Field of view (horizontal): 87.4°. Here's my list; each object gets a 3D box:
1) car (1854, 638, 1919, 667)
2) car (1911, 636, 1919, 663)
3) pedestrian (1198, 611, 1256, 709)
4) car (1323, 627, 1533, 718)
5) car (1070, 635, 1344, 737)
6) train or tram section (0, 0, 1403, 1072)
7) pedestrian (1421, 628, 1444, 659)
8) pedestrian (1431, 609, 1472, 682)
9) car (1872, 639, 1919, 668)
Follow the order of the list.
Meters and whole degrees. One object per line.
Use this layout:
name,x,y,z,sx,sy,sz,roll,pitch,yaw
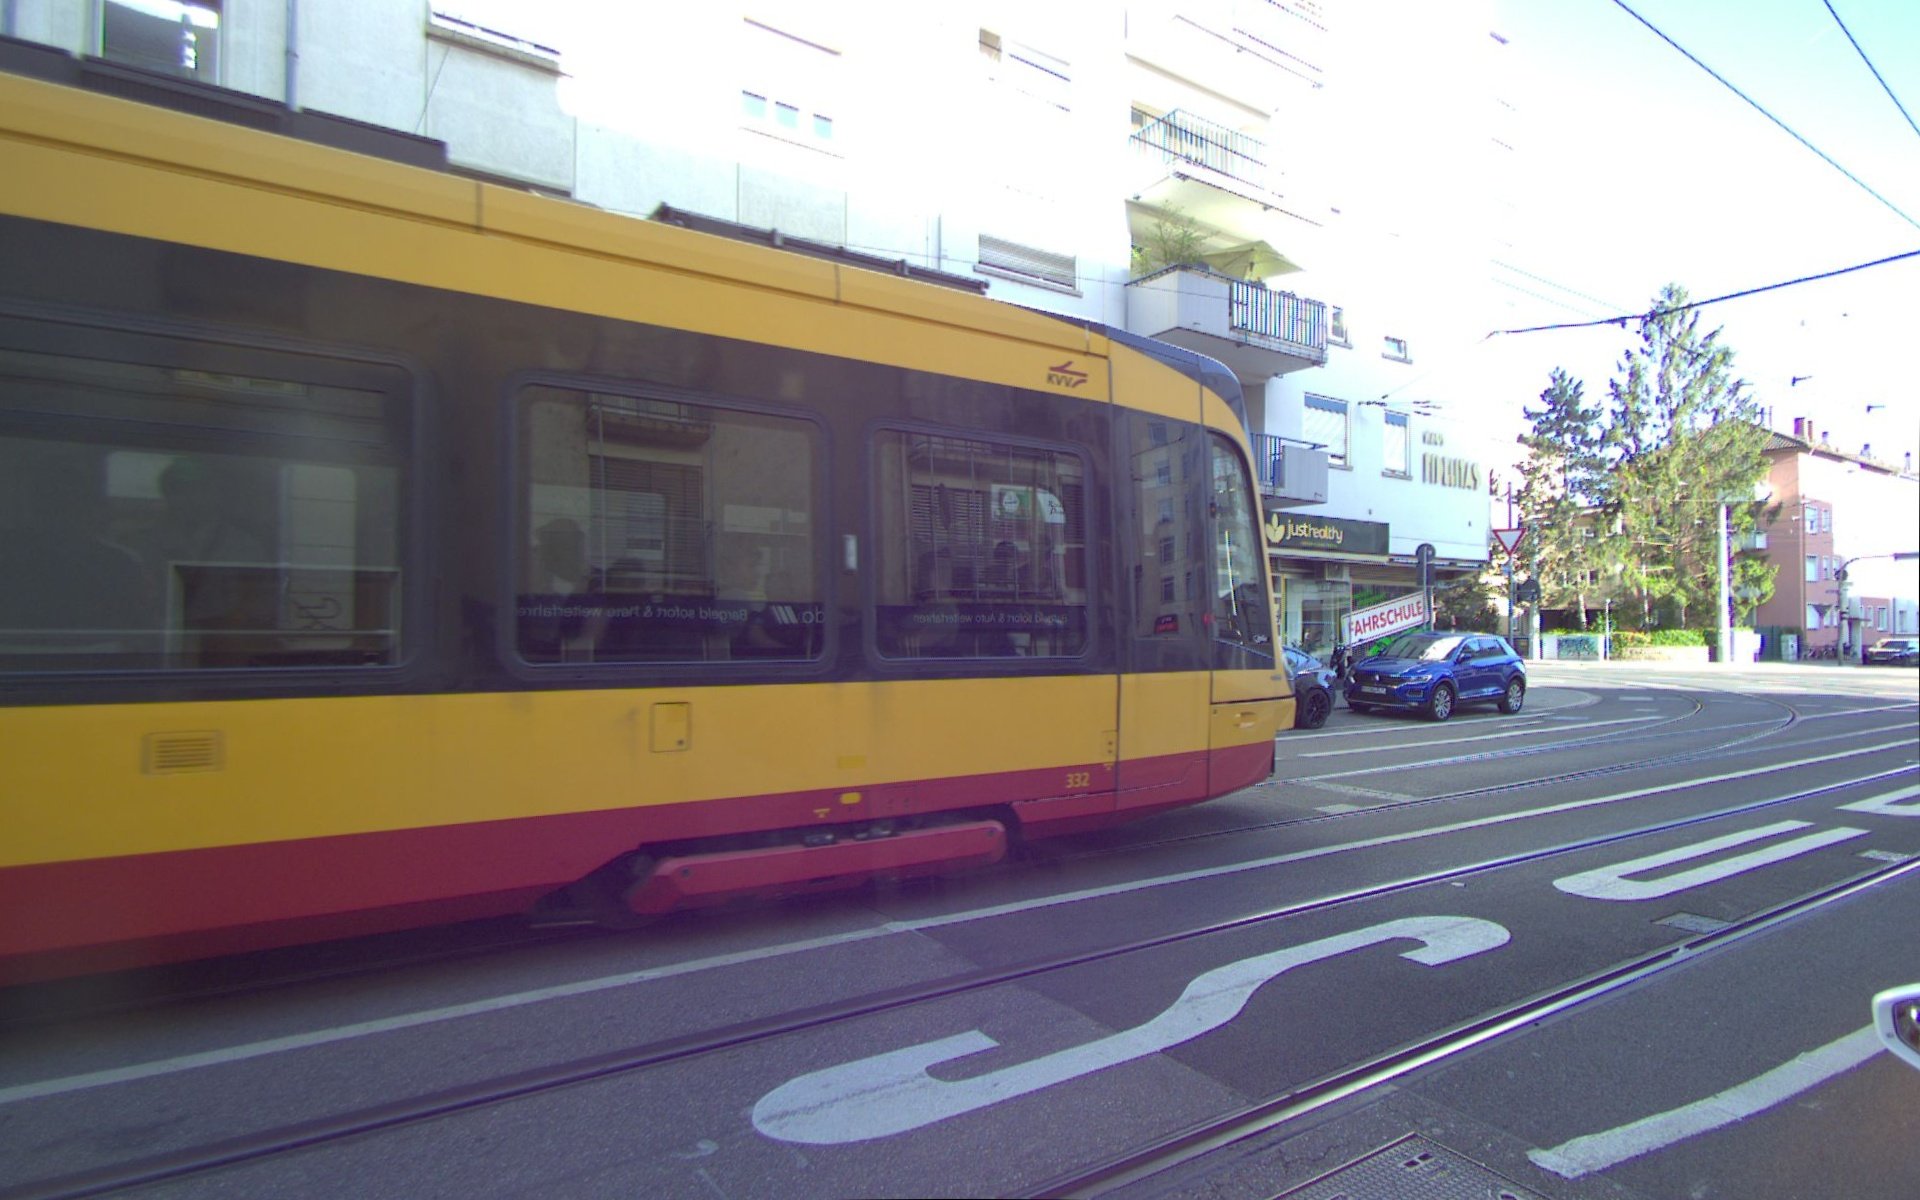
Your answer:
car,49.611,2.803,53.592,3.949,1.440,1.784,2,0,-31
car,58.239,2.968,59.474,4.103,1.531,1.778,2,0,-31
pedestrian,5.146,1.147,19.366,0.802,1.827,0.689,2,0,-30
car,8.938,1.296,19.103,4.030,1.552,1.858,1,-2,-34
car,4.019,1.276,16.079,4.382,1.405,1.810,1,-2,-34
train or tram section,-3.430,-0.354,4.516,14.115,3.680,2.728,2,0,-34
pedestrian,28.566,2.623,60.704,0.796,1.815,0.898,2,0,-25
pedestrian,13.987,1.286,28.587,0.688,2.040,0.764,2,0,-35
car,53.130,2.976,56.278,4.250,1.518,1.806,2,0,-30
